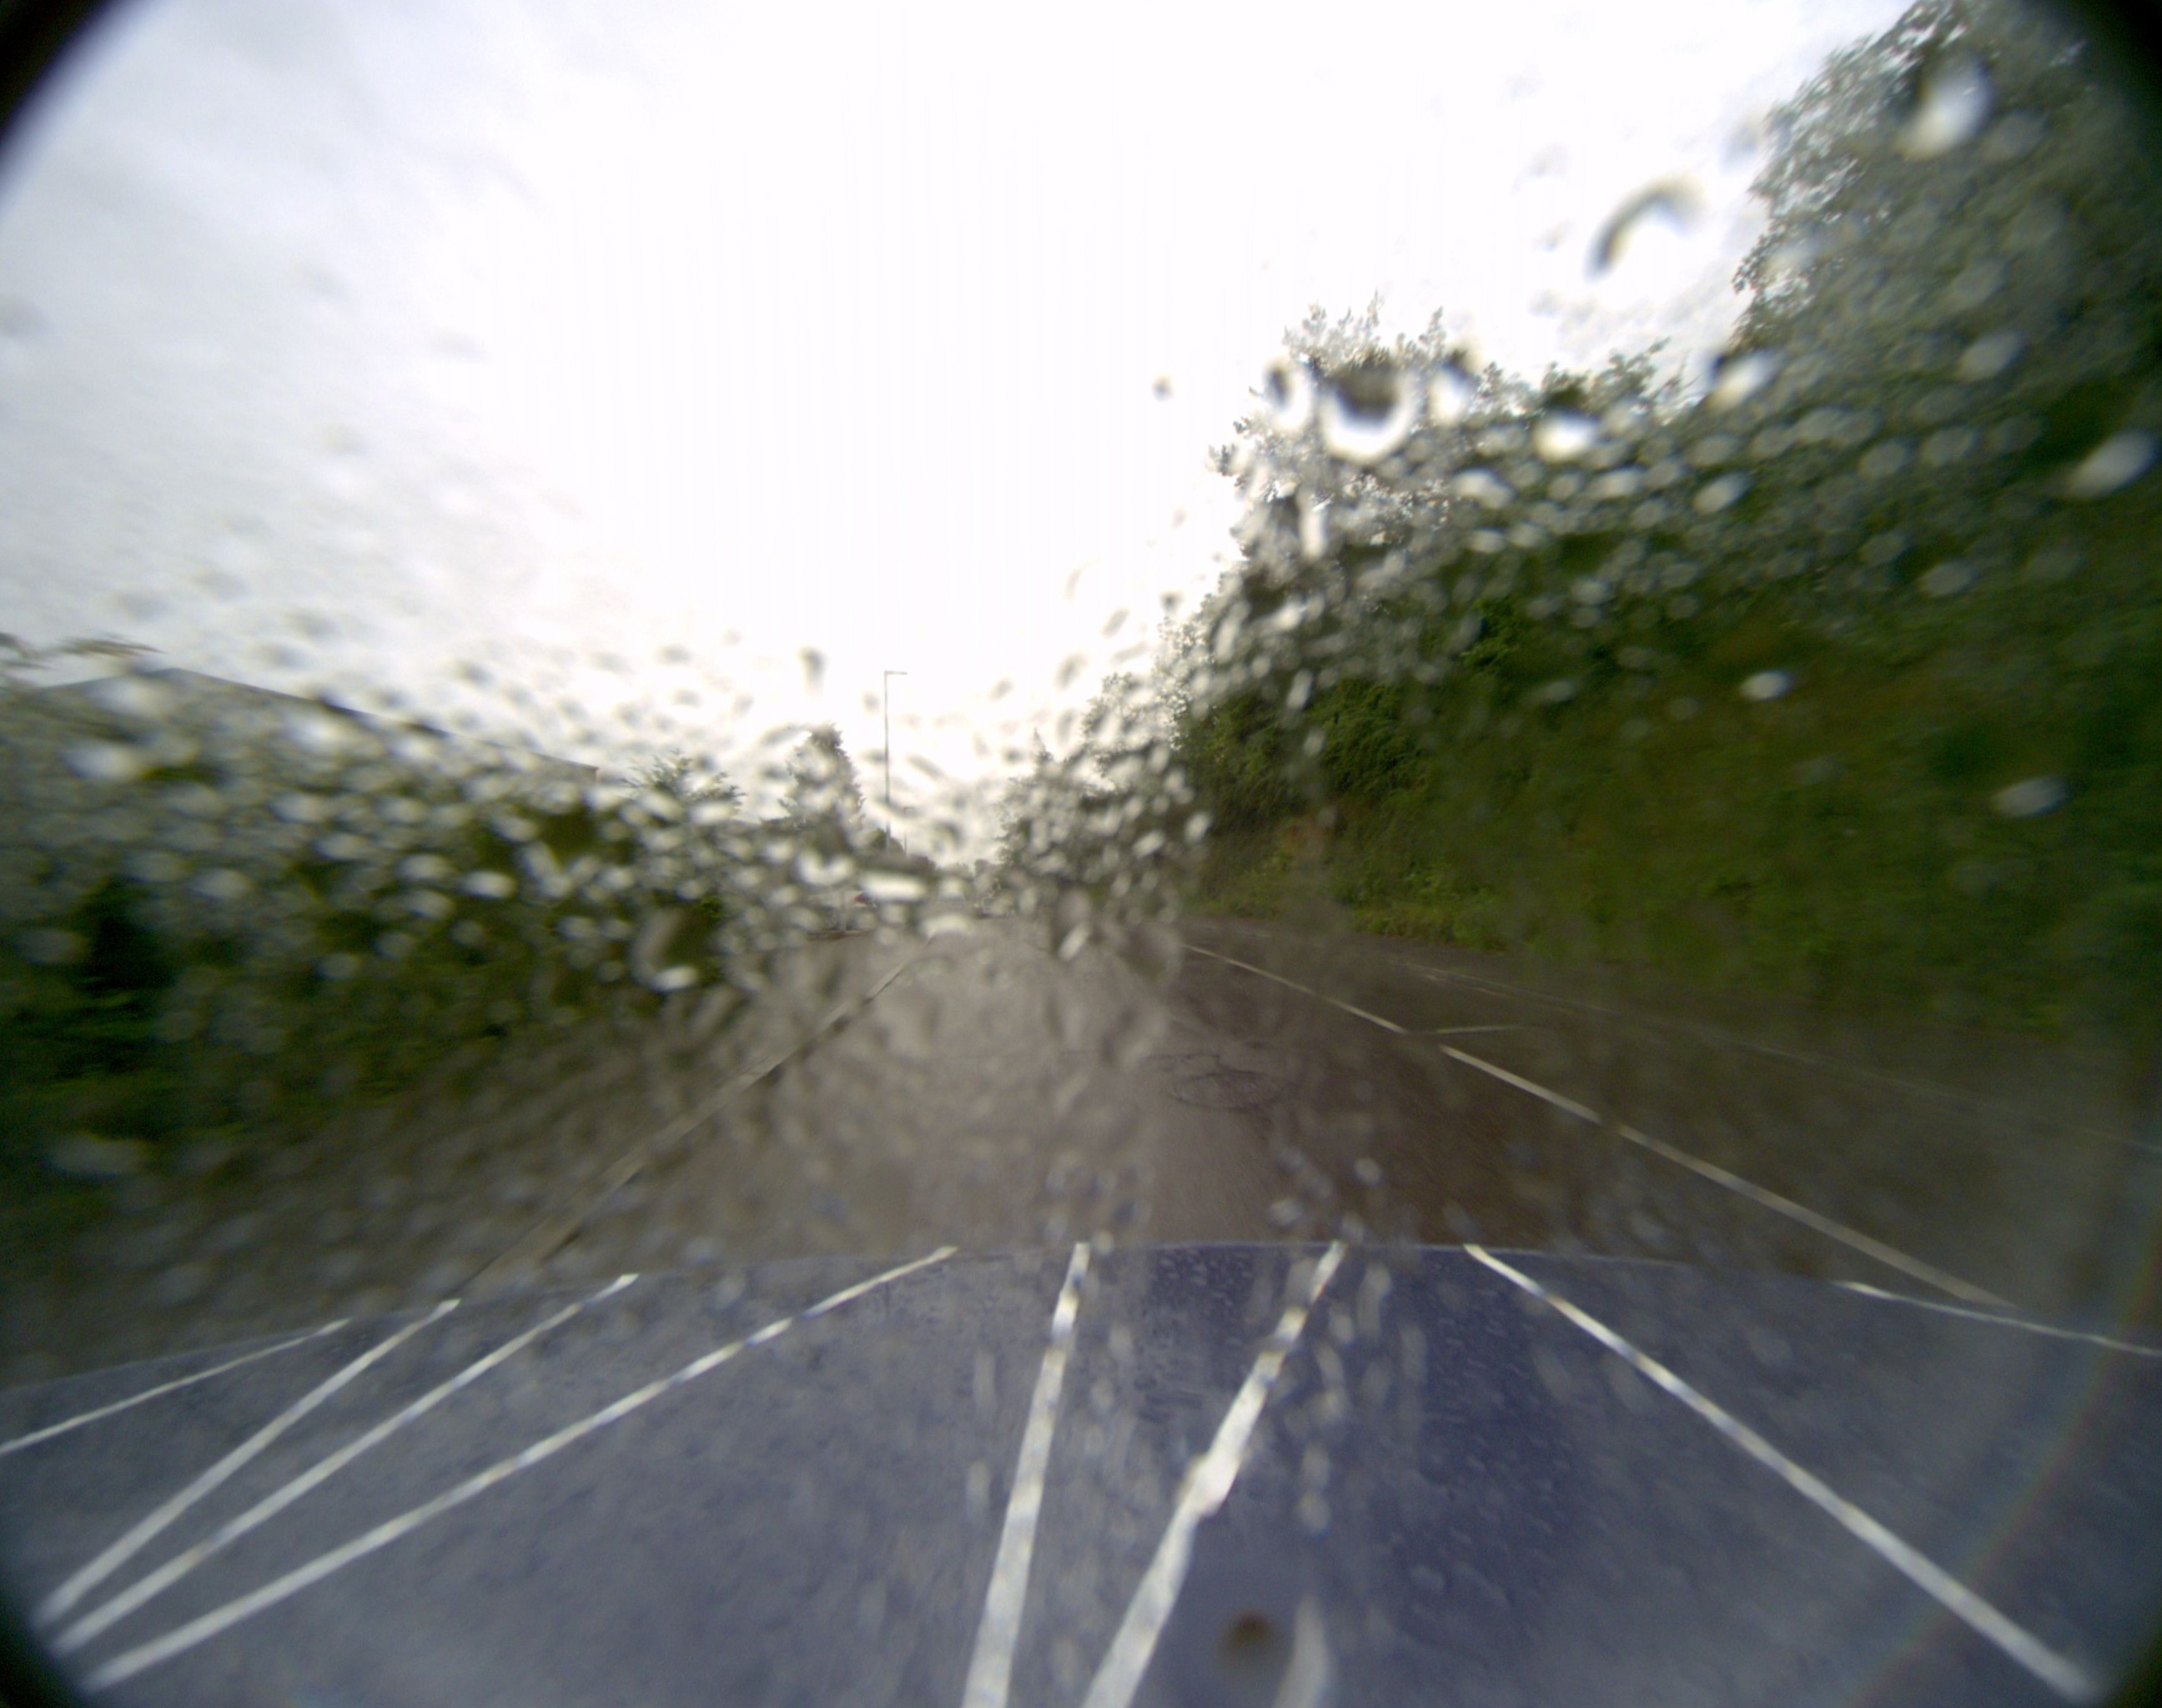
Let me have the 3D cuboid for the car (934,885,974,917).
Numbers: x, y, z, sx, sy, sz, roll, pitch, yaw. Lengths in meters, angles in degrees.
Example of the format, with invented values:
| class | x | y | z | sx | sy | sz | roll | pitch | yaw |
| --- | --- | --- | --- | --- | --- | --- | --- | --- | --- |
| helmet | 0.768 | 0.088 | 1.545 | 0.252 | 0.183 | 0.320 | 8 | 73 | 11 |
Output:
| class | x | y | z | sx | sy | sz | roll | pitch | yaw |
| --- | --- | --- | --- | --- | --- | --- | --- | --- | --- |
| car | -6.926 | 2.600 | 41.094 | 1.882 | 1.581 | 4.478 | -1 | -4 | -12 |

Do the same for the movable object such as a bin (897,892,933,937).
| class | x | y | z | sx | sy | sz | roll | pitch | yaw |
| --- | --- | --- | --- | --- | --- | --- | --- | --- | --- |
| movable object such as a bin | -4.221 | 1.539 | 19.378 | 0.792 | 1.089 | 0.675 | 3 | -2 | -9 |

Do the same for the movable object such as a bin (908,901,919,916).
| class | x | y | z | sx | sy | sz | roll | pitch | yaw |
| --- | --- | --- | --- | --- | --- | --- | --- | --- | --- |
| movable object such as a bin | -12.672 | 4.121 | 57.580 | 0.741 | 1.081 | 0.600 | 1 | -5 | -9 |

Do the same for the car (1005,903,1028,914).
| class | x | y | z | sx | sy | sz | roll | pitch | yaw |
| --- | --- | --- | --- | --- | --- | --- | --- | --- | --- |
| car | -9.743 | 8.254 | 115.022 | 1.797 | 1.459 | 4.224 | -4 | -5 | 20 |

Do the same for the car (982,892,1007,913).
| class | x | y | z | sx | sy | sz | roll | pitch | yaw |
| --- | --- | --- | --- | --- | --- | --- | --- | --- | --- |
| car | -8.408 | 4.741 | 73.651 | 2.118 | 1.961 | 5.173 | -1 | -4 | -9 |

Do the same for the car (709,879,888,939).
| class | x | y | z | sx | sy | sz | roll | pitch | yaw |
| --- | --- | --- | --- | --- | --- | --- | --- | --- | --- |
| car | -7.783 | 1.501 | 21.231 | 4.227 | 1.406 | 1.942 | -3 | -2 | 1 |

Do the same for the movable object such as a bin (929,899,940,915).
| class | x | y | z | sx | sy | sz | roll | pitch | yaw |
| --- | --- | --- | --- | --- | --- | --- | --- | --- | --- |
| movable object such as a bin | -10.112 | 3.686 | 52.423 | 0.731 | 1.071 | 0.661 | -1 | -4 | -14 |
